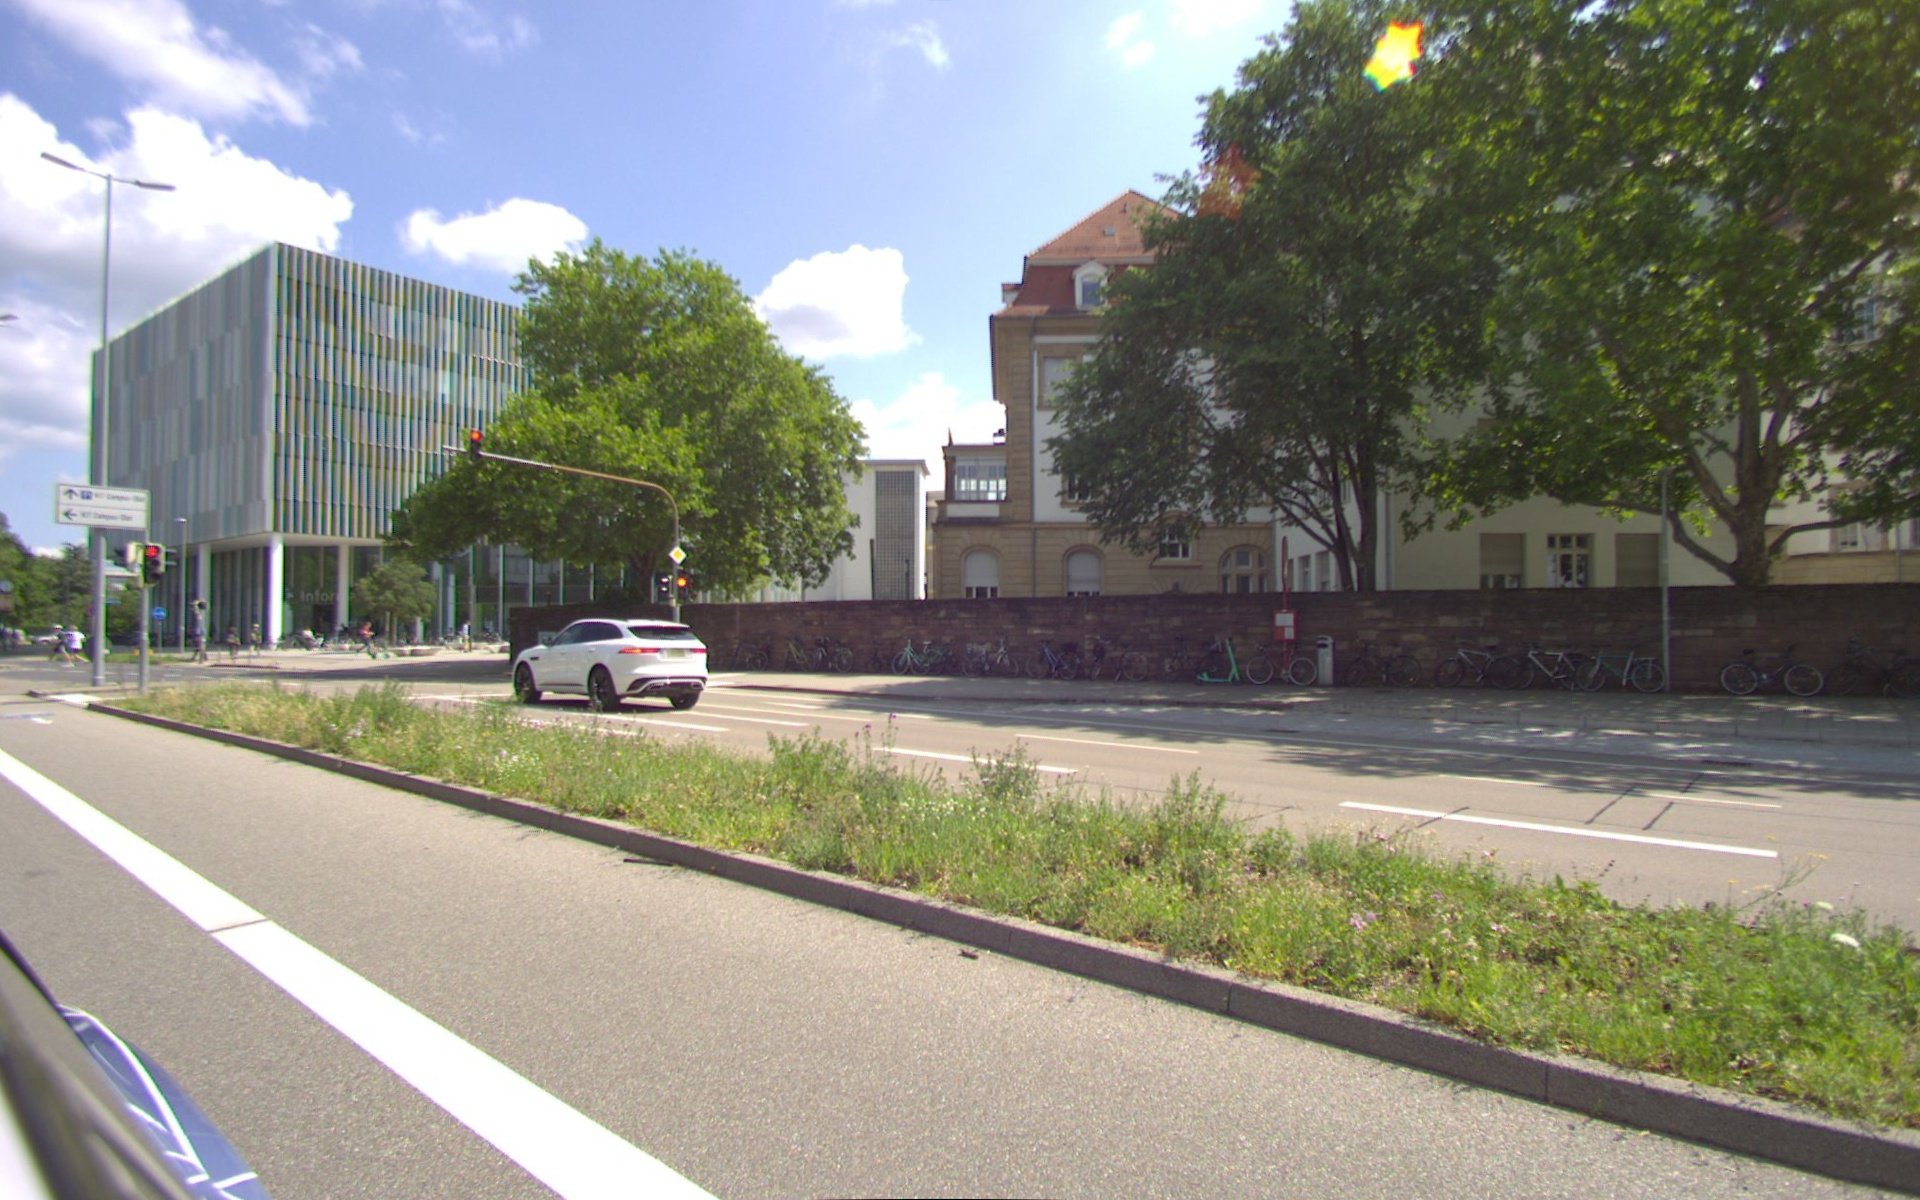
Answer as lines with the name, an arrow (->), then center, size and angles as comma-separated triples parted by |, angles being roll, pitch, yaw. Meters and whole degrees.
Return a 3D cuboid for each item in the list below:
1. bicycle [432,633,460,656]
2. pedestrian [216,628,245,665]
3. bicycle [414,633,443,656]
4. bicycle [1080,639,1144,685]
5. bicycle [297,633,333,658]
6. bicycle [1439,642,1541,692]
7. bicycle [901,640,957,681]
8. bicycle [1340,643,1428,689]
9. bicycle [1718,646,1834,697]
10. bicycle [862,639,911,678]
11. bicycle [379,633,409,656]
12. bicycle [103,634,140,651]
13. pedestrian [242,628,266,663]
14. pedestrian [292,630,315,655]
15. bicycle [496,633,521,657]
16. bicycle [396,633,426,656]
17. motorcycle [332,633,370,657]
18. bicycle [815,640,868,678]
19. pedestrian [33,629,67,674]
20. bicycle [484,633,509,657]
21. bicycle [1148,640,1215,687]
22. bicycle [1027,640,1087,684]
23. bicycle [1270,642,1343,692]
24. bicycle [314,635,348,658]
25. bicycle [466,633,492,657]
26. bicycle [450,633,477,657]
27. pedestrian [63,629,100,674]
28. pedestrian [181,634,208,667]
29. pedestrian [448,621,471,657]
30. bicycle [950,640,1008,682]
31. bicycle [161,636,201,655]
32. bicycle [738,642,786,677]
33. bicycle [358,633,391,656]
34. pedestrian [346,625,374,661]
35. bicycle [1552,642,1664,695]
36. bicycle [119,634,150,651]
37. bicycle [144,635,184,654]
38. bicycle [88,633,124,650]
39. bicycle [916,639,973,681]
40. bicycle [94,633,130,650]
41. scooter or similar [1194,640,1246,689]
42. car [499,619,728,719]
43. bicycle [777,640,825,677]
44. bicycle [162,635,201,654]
bicycle -> -35.593, 3.091, 70.161 | 0.983, 1.564, 3.424 | 0, -2, -14
pedestrian -> -39.191, 2.484, 54.370 | 0.957, 1.940, 0.880 | 0, -2, -6
bicycle -> -36.924, 3.090, 70.399 | 0.983, 1.564, 3.424 | 0, -2, -14
bicycle -> 3.925, 1.594, 26.167 | 1.581, 1.161, 0.531 | -1, -2, 18
bicycle -> -44.472, 3.101, 69.792 | 0.797, 1.656, 3.421 | 0, -2, -9
bicycle -> 11.598, 1.451, 22.206 | 1.940, 1.055, 0.540 | -1, -2, 28
bicycle -> -0.912, 1.753, 29.529 | 1.580, 1.161, 0.400 | -1, -2, 17
bicycle -> 9.739, 1.494, 23.273 | 1.795, 1.016, 0.477 | -1, -2, 31
bicycle -> 15.875, 1.378, 19.733 | 1.657, 0.956, 0.540 | -1, -2, 28
bicycle -> -2.229, 1.752, 30.501 | 1.590, 1.161, 0.409 | -2, -2, 35
bicycle -> -39.307, 3.073, 70.321 | 0.983, 1.564, 3.424 | 0, -2, -14
bicycle -> -75.298, 3.785, 90.909 | 0.621, 1.506, 2.480 | -2, -2, 40
pedestrian -> -39.577, 2.527, 56.743 | 0.955, 1.940, 0.882 | 0, -2, -24
pedestrian -> -46.340, 2.992, 71.445 | 0.997, 1.720, 1.214 | 0, -2, -16
bicycle -> -31.012, 3.062, 69.544 | 0.983, 1.564, 3.424 | 0, -2, -14
bicycle -> -38.146, 3.080, 70.355 | 0.983, 1.564, 3.424 | 0, -2, -14
motorcycle -> -42.100, 3.080, 70.049 | 0.956, 1.652, 3.302 | 0, -2, -6
bicycle -> -3.677, 1.814, 31.324 | 1.589, 1.161, 0.616 | -2, -2, 32
pedestrian -> -40.281, 2.257, 44.818 | 1.092, 1.940, 0.973 | 1, -2, -41
bicycle -> -32.277, 3.111, 70.529 | 0.983, 1.564, 3.424 | 0, -2, -14
bicycle -> 5.561, 1.586, 25.426 | 1.581, 1.161, 0.531 | -1, -2, 18
bicycle -> 2.628, 1.661, 27.427 | 1.587, 1.161, 0.399 | -1, -2, 29
bicycle -> 8.243, 1.584, 24.127 | 1.586, 1.151, 0.429 | -1, -2, 28
bicycle -> -43.432, 3.178, 69.910 | 0.919, 1.505, 2.691 | 0, -1, -6
bicycle -> -33.375, 3.106, 70.287 | 0.983, 1.564, 3.424 | 0, -2, -14
bicycle -> -34.486, 3.100, 70.311 | 0.983, 1.564, 3.424 | 0, -2, -14
pedestrian -> -38.692, 2.261, 44.598 | 1.091, 1.940, 0.974 | 1, -2, -35
pedestrian -> -39.576, 2.594, 52.331 | 0.955, 1.641, 0.882 | 0, -2, -26
pedestrian -> -27.626, 2.160, 55.832 | 1.090, 1.940, 0.975 | 0, -2, -27
bicycle -> 0.529, 1.701, 28.295 | 1.575, 1.161, 0.402 | -1, -2, 7
bicycle -> -62.738, 3.636, 81.521 | 0.621, 1.506, 2.420 | -2, -2, 40
bicycle -> -6.488, 1.944, 33.197 | 1.589, 1.107, 0.567 | -2, -2, 32
bicycle -> -40.663, 3.064, 70.294 | 1.034, 1.564, 3.424 | 0, -2, -14
pedestrian -> -32.754, 2.326, 55.231 | 0.972, 1.940, 1.093 | -2, -2, 44
bicycle -> 13.466, 1.411, 21.091 | 1.887, 1.055, 0.540 | -1, -2, 28
bicycle -> -73.067, 3.766, 89.595 | 0.621, 1.506, 2.045 | -2, -2, 40
bicycle -> -65.762, 3.668, 83.641 | 0.621, 1.506, 2.480 | -2, -2, 40
bicycle -> -79.134, 3.831, 93.805 | 0.621, 1.506, 2.480 | -2, -2, 40
bicycle -> -0.433, 1.710, 28.927 | 1.575, 1.161, 0.402 | -1, -2, 7
bicycle -> -78.259, 3.826, 93.406 | 0.621, 1.506, 2.480 | -2, -2, 40
scooter or similar -> 6.269, 1.542, 24.423 | 1.183, 1.161, 0.430 | -1, -2, 19
car -> -6.712, 1.238, 19.348 | 4.773, 1.680, 2.049 | -2, -2, 41
bicycle -> -5.085, 1.861, 32.317 | 1.589, 1.161, 0.495 | -2, -2, 32
bicycle -> -63.334, 3.651, 82.382 | 2.474, 1.506, 0.731 | 1, -2, -40
